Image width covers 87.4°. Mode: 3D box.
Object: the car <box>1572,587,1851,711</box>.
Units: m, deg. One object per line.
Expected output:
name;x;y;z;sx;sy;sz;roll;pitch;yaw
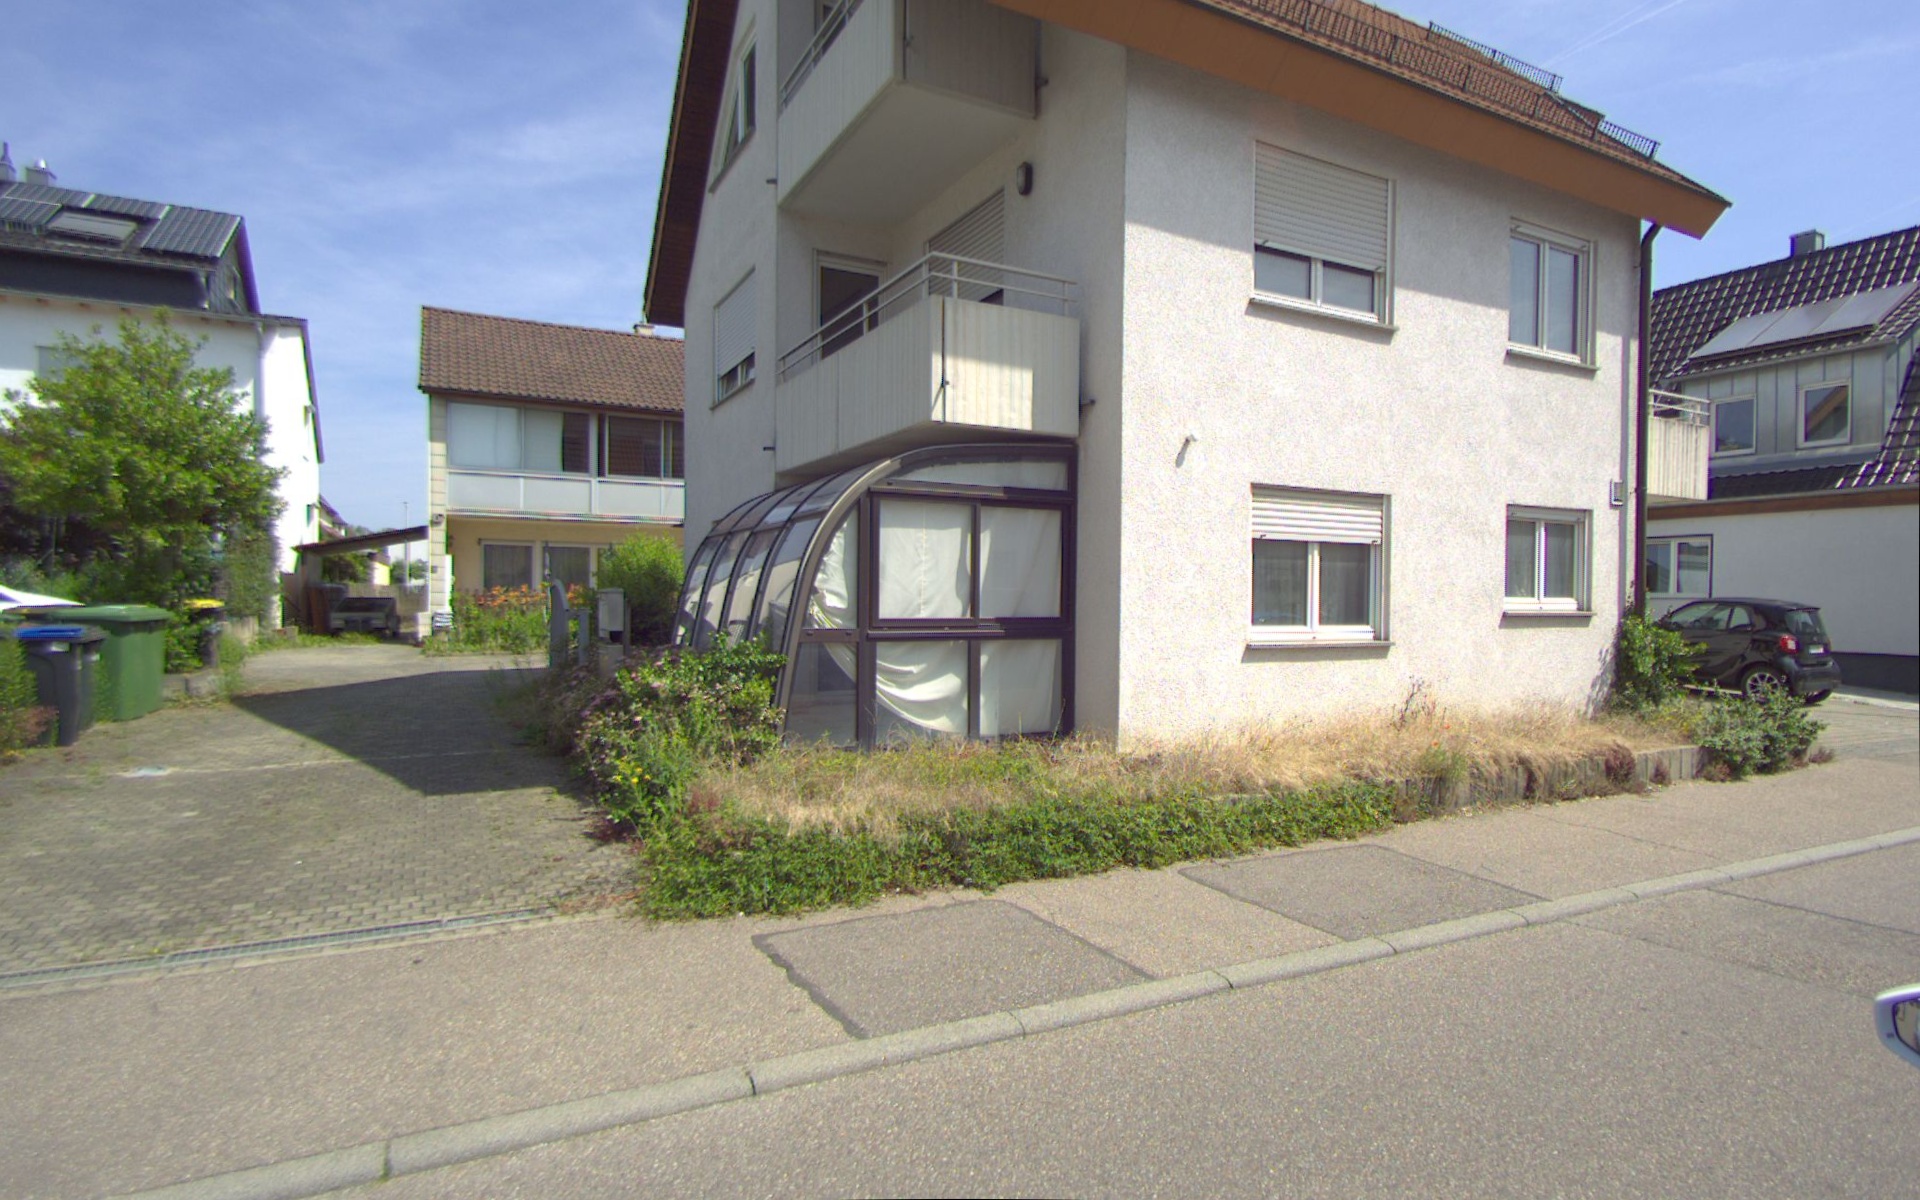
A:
car;11.937;0.708;16.142;1.693;1.598;3.096;1;4;-29

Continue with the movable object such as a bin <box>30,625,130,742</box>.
movable object such as a bin;-7.488;0.687;8.570;0.473;0.910;0.808;1;1;-30

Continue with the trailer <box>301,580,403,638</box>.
trailer;-15.391;0.182;25.505;2.021;1.325;4.730;1;1;-31

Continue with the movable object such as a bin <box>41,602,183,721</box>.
movable object such as a bin;-8.299;0.572;9.890;0.849;1.055;1.179;1;1;-30

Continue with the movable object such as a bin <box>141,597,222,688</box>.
movable object such as a bin;-9.707;0.513;12.541;0.768;1.075;0.781;1;1;-38

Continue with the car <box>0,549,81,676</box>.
car;-13.955;0.148;13.136;1.742;1.701;3.347;2;1;30
